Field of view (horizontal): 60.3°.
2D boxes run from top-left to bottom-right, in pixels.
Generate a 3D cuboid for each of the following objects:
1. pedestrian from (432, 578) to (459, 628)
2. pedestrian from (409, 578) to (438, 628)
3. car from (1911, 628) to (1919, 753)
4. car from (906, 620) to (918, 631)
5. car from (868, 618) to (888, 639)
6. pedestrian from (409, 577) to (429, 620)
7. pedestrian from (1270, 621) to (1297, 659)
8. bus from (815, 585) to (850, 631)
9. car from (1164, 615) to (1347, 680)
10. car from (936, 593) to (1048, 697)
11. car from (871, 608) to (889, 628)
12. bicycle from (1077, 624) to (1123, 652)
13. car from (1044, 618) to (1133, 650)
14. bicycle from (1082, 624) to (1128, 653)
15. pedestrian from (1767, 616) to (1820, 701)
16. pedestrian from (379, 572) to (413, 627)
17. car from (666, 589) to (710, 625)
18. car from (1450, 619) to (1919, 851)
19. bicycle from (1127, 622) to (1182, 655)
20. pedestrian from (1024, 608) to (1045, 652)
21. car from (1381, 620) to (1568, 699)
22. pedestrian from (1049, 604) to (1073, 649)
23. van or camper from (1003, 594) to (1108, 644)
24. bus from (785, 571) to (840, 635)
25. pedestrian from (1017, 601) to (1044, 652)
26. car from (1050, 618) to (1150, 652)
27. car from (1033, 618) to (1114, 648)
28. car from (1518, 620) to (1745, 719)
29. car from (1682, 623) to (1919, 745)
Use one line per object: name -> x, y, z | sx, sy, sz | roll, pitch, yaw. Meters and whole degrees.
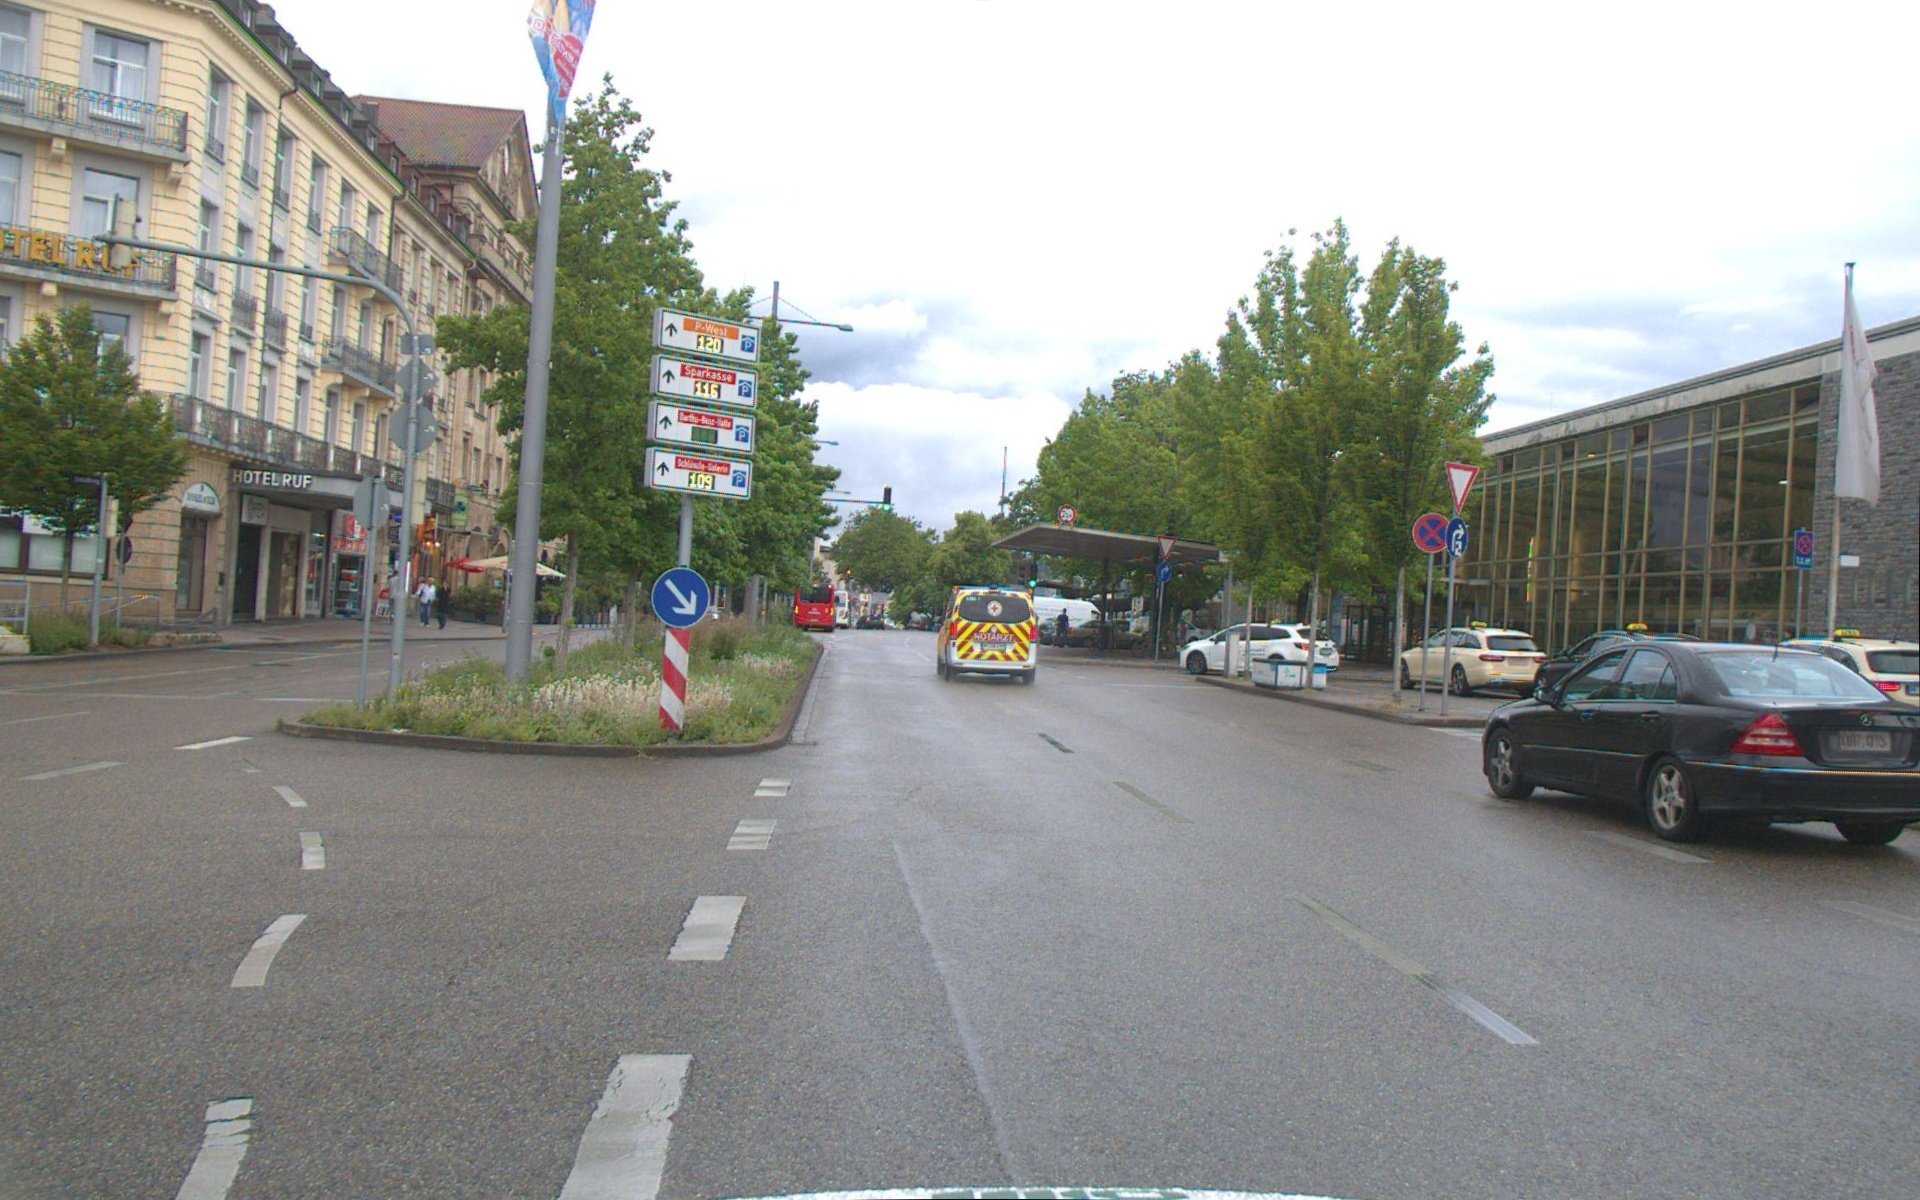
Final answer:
pedestrian -> -17.554, 0.101, 56.391 | 0.668, 1.693, 0.806 | 1, -1, -4
pedestrian -> -18.264, 0.116, 56.307 | 0.667, 1.693, 0.807 | 1, -1, -1
car -> 13.586, 1.169, 19.403 | 1.842, 1.627, 4.899 | 1, -1, -3
car -> -6.993, 3.691, 241.334 | 1.563, 1.588, 3.647 | 1, -1, -3
car -> -8.206, 2.814, 164.970 | 1.954, 2.049, 3.997 | 1, -1, -4
pedestrian -> -21.458, -0.046, 65.627 | 0.655, 1.693, 0.535 | 1, -1, -12
pedestrian -> 13.541, 1.671, 69.252 | 0.849, 1.586, 0.812 | 1, -1, -11
bus -> -11.258, 0.762, 145.717 | 2.751, 3.812, 10.432 | 3, -1, -5
car -> 7.845, 1.251, 44.263 | 1.749, 1.573, 4.702 | 3, -2, -43
car -> 0.599, 0.936, 35.498 | 1.954, 2.049, 5.057 | 1, -1, -4
car -> -8.753, 1.956, 180.608 | 1.954, 2.049, 3.997 | 1, -1, -4
bicycle -> 5.503, 1.498, 64.818 | 1.802, 1.074, 0.417 | 1, -1, -22
car -> 6.153, 1.630, 78.893 | 3.952, 1.383, 1.842 | 3, -2, -35
bicycle -> 5.641, 1.494, 64.380 | 1.802, 1.074, 0.417 | 1, -1, -22
pedestrian -> 16.541, 1.147, 32.819 | 0.783, 1.655, 0.718 | 0, -1, 42
pedestrian -> -19.175, 0.000, 56.239 | 0.862, 1.844, 0.750 | 1, -1, -4
car -> -16.015, 0.454, 97.610 | 1.953, 2.049, 4.998 | 1, -1, -2
car -> 5.592, 0.907, 12.946 | 1.663, 1.491, 4.443 | 1, -1, -8
bicycle -> 6.571, 1.299, 55.967 | 1.791, 1.074, 0.420 | 1, -1, -4
pedestrian -> 3.504, 1.416, 78.049 | 0.815, 2.049, 0.888 | 1, -1, -8
car -> 11.676, 1.318, 37.919 | 1.958, 1.627, 4.944 | 1, 0, -11
pedestrian -> 4.357, 1.150, 71.406 | 0.839, 1.867, 1.189 | 2, -2, -4
van or camper -> 5.545, 1.116, 95.686 | 5.886, 2.811, 2.176 | 1, -1, -31
bus -> -10.058, 0.246, 112.021 | 3.476, 4.049, 11.157 | 1, -1, -6
pedestrian -> 2.524, 0.959, 59.421 | 0.733, 1.777, 0.833 | 2, -2, -12
car -> 6.366, 1.586, 75.237 | 4.130, 1.348, 1.826 | 3, -2, -24
car -> 6.009, 1.747, 87.444 | 3.945, 1.468, 1.846 | 3, -2, -31
car -> 12.676, 1.255, 31.620 | 1.955, 1.627, 4.953 | 3, 0, -5
car -> 13.215, 1.200, 25.282 | 1.954, 1.627, 4.954 | 1, 0, -3
